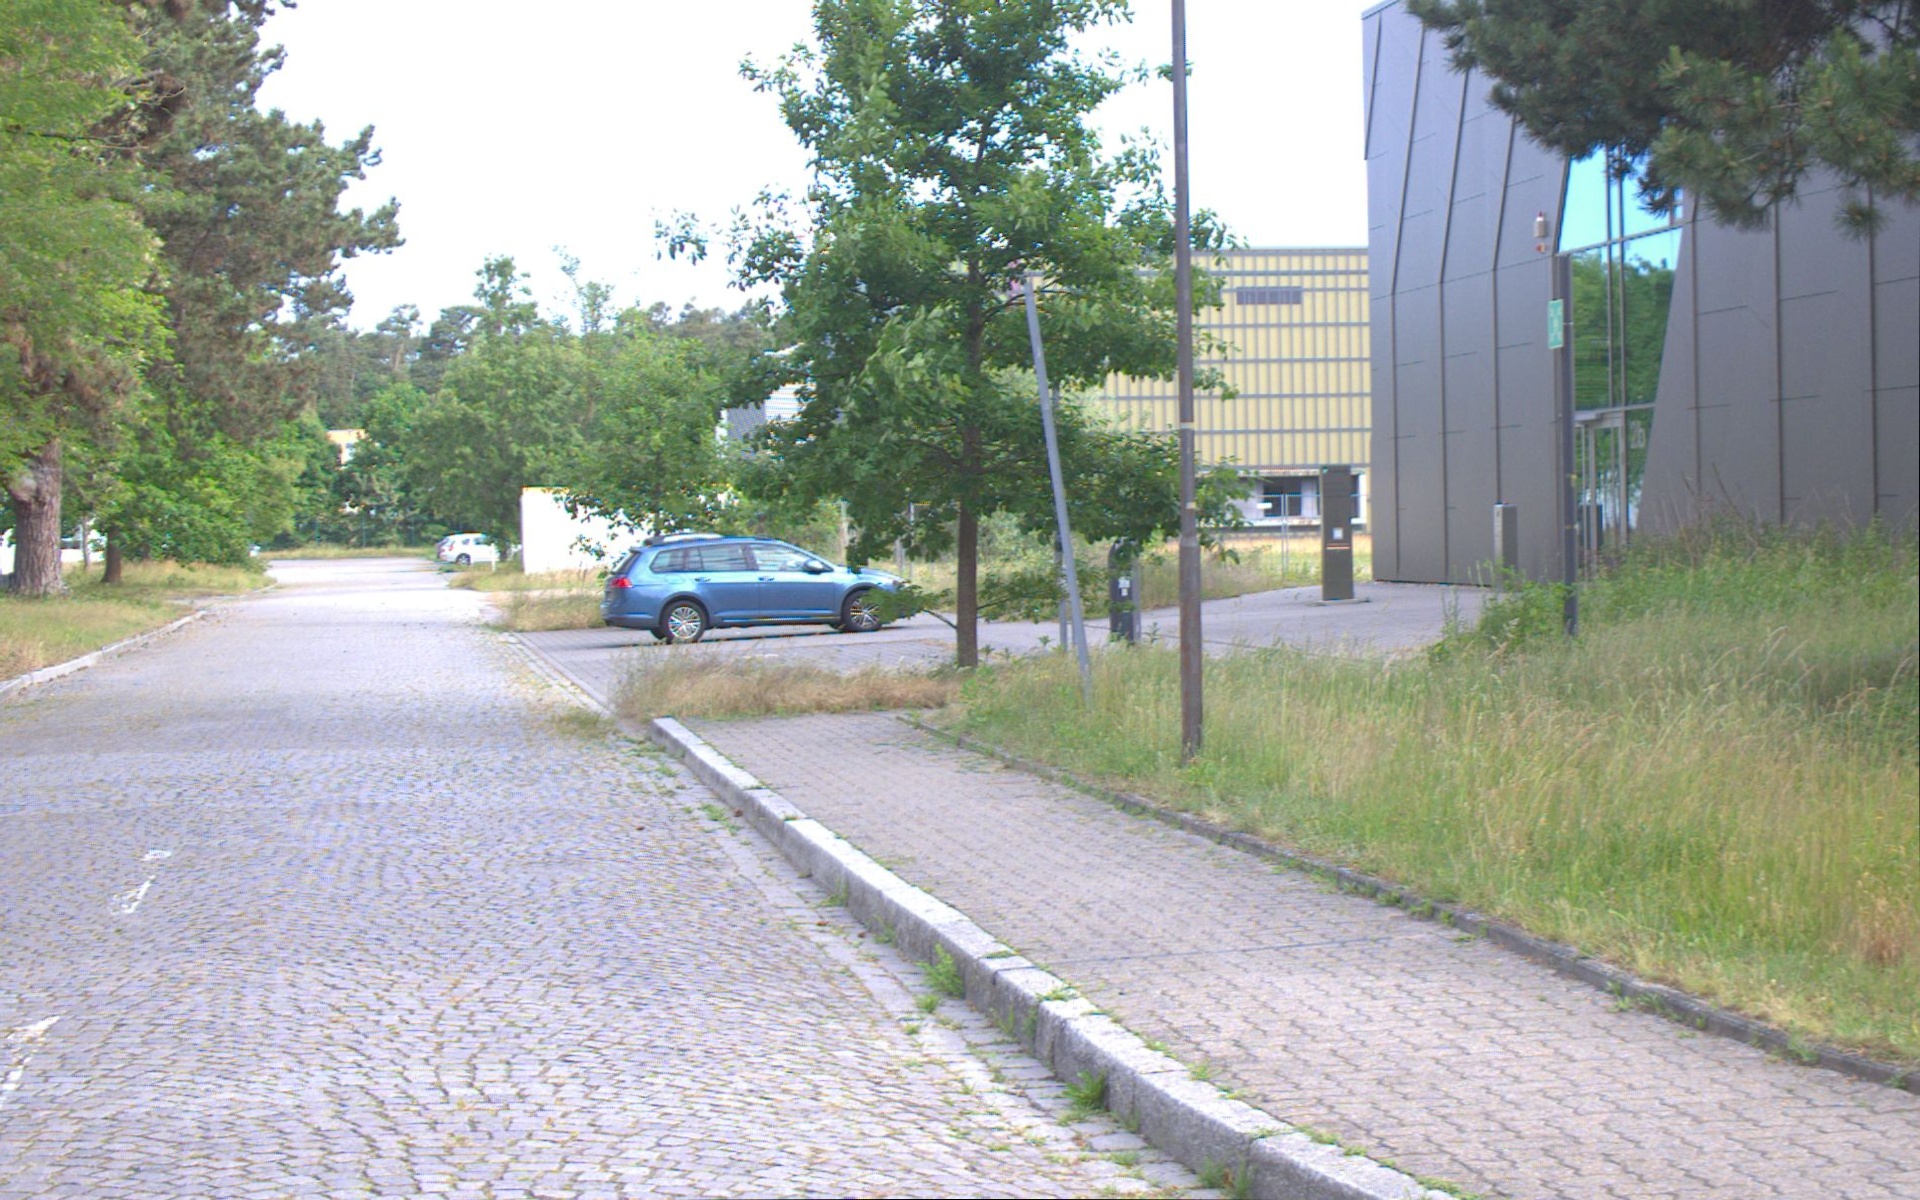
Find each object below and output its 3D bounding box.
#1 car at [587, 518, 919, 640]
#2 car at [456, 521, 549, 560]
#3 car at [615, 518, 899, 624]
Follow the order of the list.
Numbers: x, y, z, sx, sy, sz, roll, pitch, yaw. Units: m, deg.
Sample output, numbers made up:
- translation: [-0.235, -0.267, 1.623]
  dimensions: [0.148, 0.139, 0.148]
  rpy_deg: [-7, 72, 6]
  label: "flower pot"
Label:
- translation: [-3.038, -0.324, 50.068]
  dimensions: [4.516, 1.526, 2.001]
  rpy_deg: [-3, 2, -12]
  label: "car"
- translation: [-21.707, -2.836, 163.114]
  dimensions: [4.354, 1.774, 1.926]
  rpy_deg: [-1, 1, -8]
  label: "car"
- translation: [-3.417, -0.502, 57.464]
  dimensions: [4.517, 1.526, 2.001]
  rpy_deg: [-3, 2, -9]
  label: "car"
